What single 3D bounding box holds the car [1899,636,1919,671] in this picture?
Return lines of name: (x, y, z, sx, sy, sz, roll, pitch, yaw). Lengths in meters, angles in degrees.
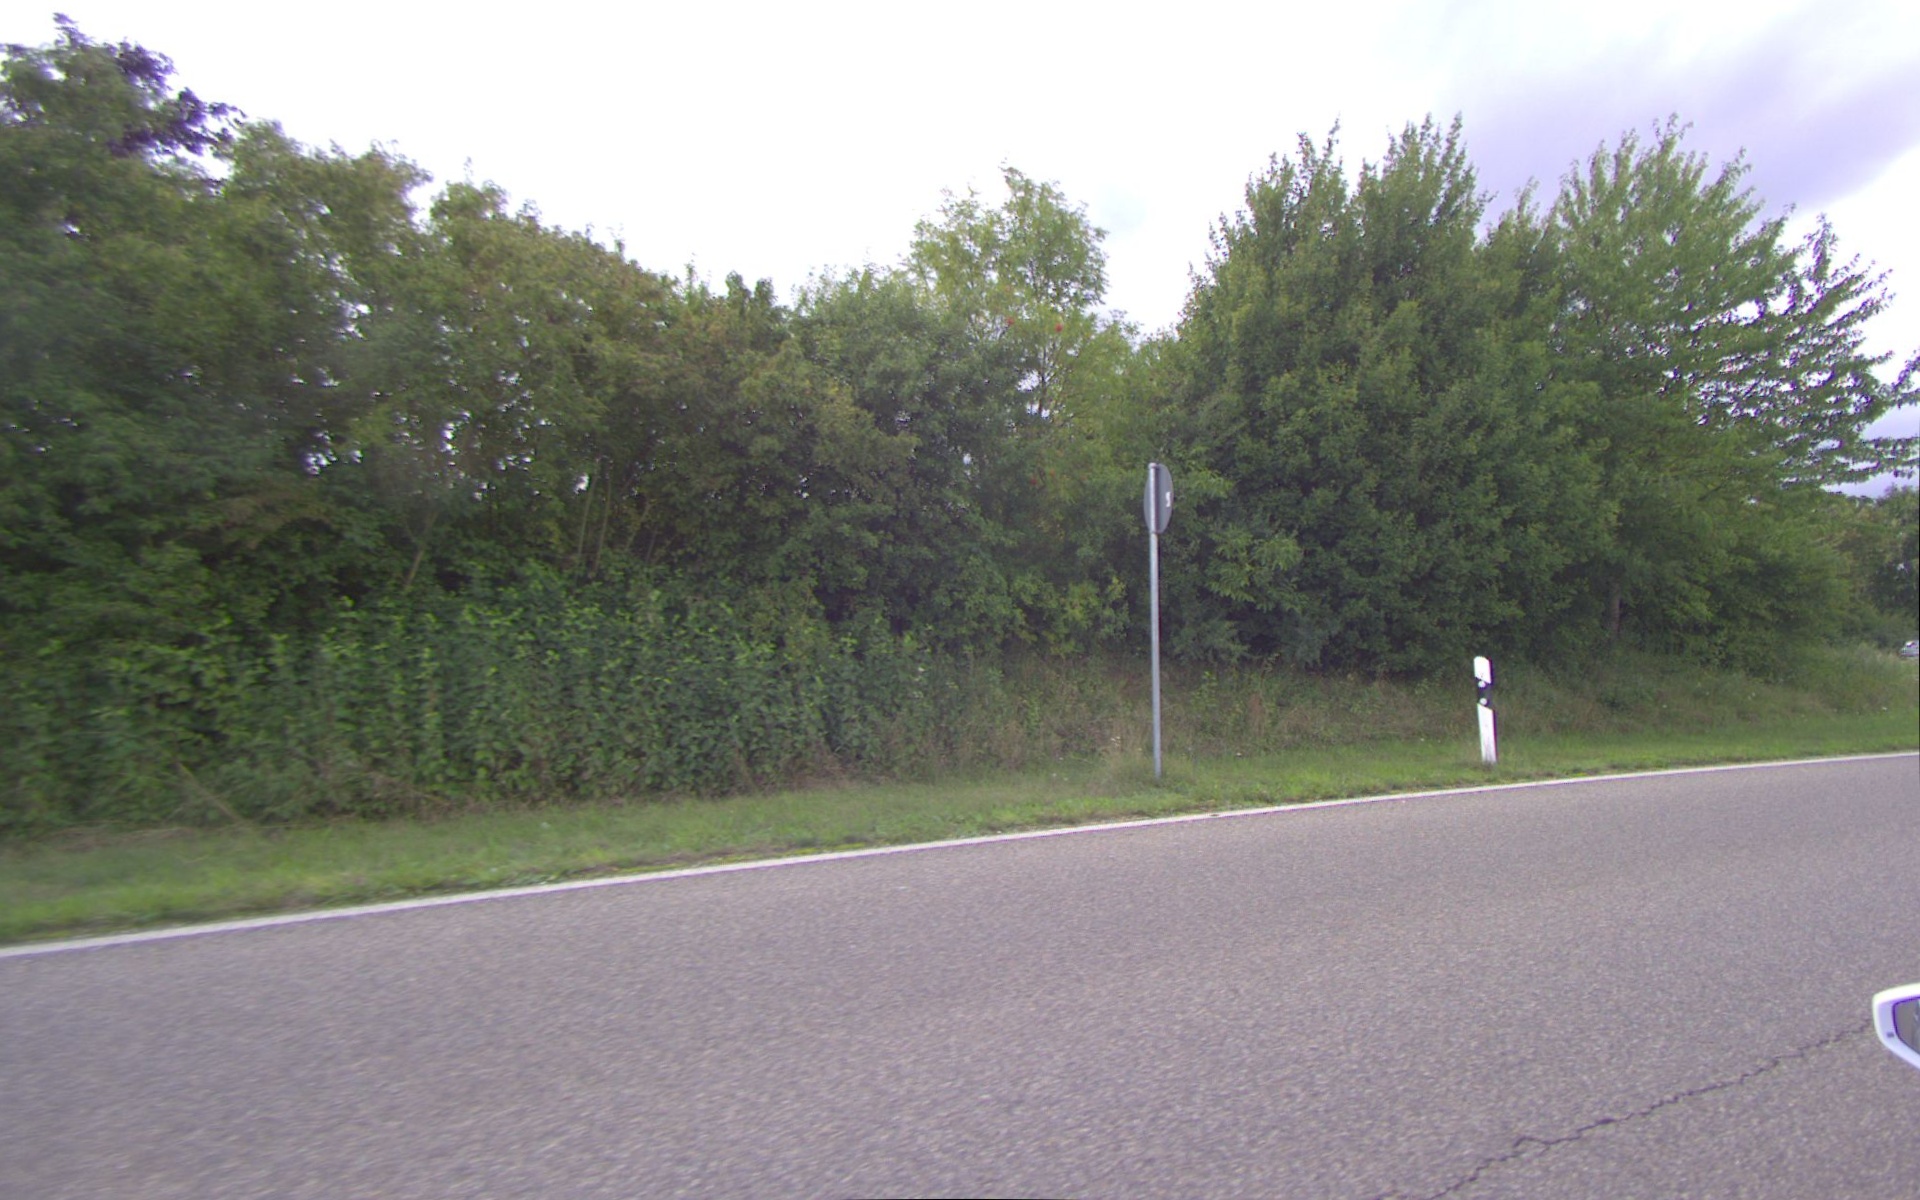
car: (45.476, 2.472, 45.338, 1.735, 1.587, 4.226, 1, -2, -27)
